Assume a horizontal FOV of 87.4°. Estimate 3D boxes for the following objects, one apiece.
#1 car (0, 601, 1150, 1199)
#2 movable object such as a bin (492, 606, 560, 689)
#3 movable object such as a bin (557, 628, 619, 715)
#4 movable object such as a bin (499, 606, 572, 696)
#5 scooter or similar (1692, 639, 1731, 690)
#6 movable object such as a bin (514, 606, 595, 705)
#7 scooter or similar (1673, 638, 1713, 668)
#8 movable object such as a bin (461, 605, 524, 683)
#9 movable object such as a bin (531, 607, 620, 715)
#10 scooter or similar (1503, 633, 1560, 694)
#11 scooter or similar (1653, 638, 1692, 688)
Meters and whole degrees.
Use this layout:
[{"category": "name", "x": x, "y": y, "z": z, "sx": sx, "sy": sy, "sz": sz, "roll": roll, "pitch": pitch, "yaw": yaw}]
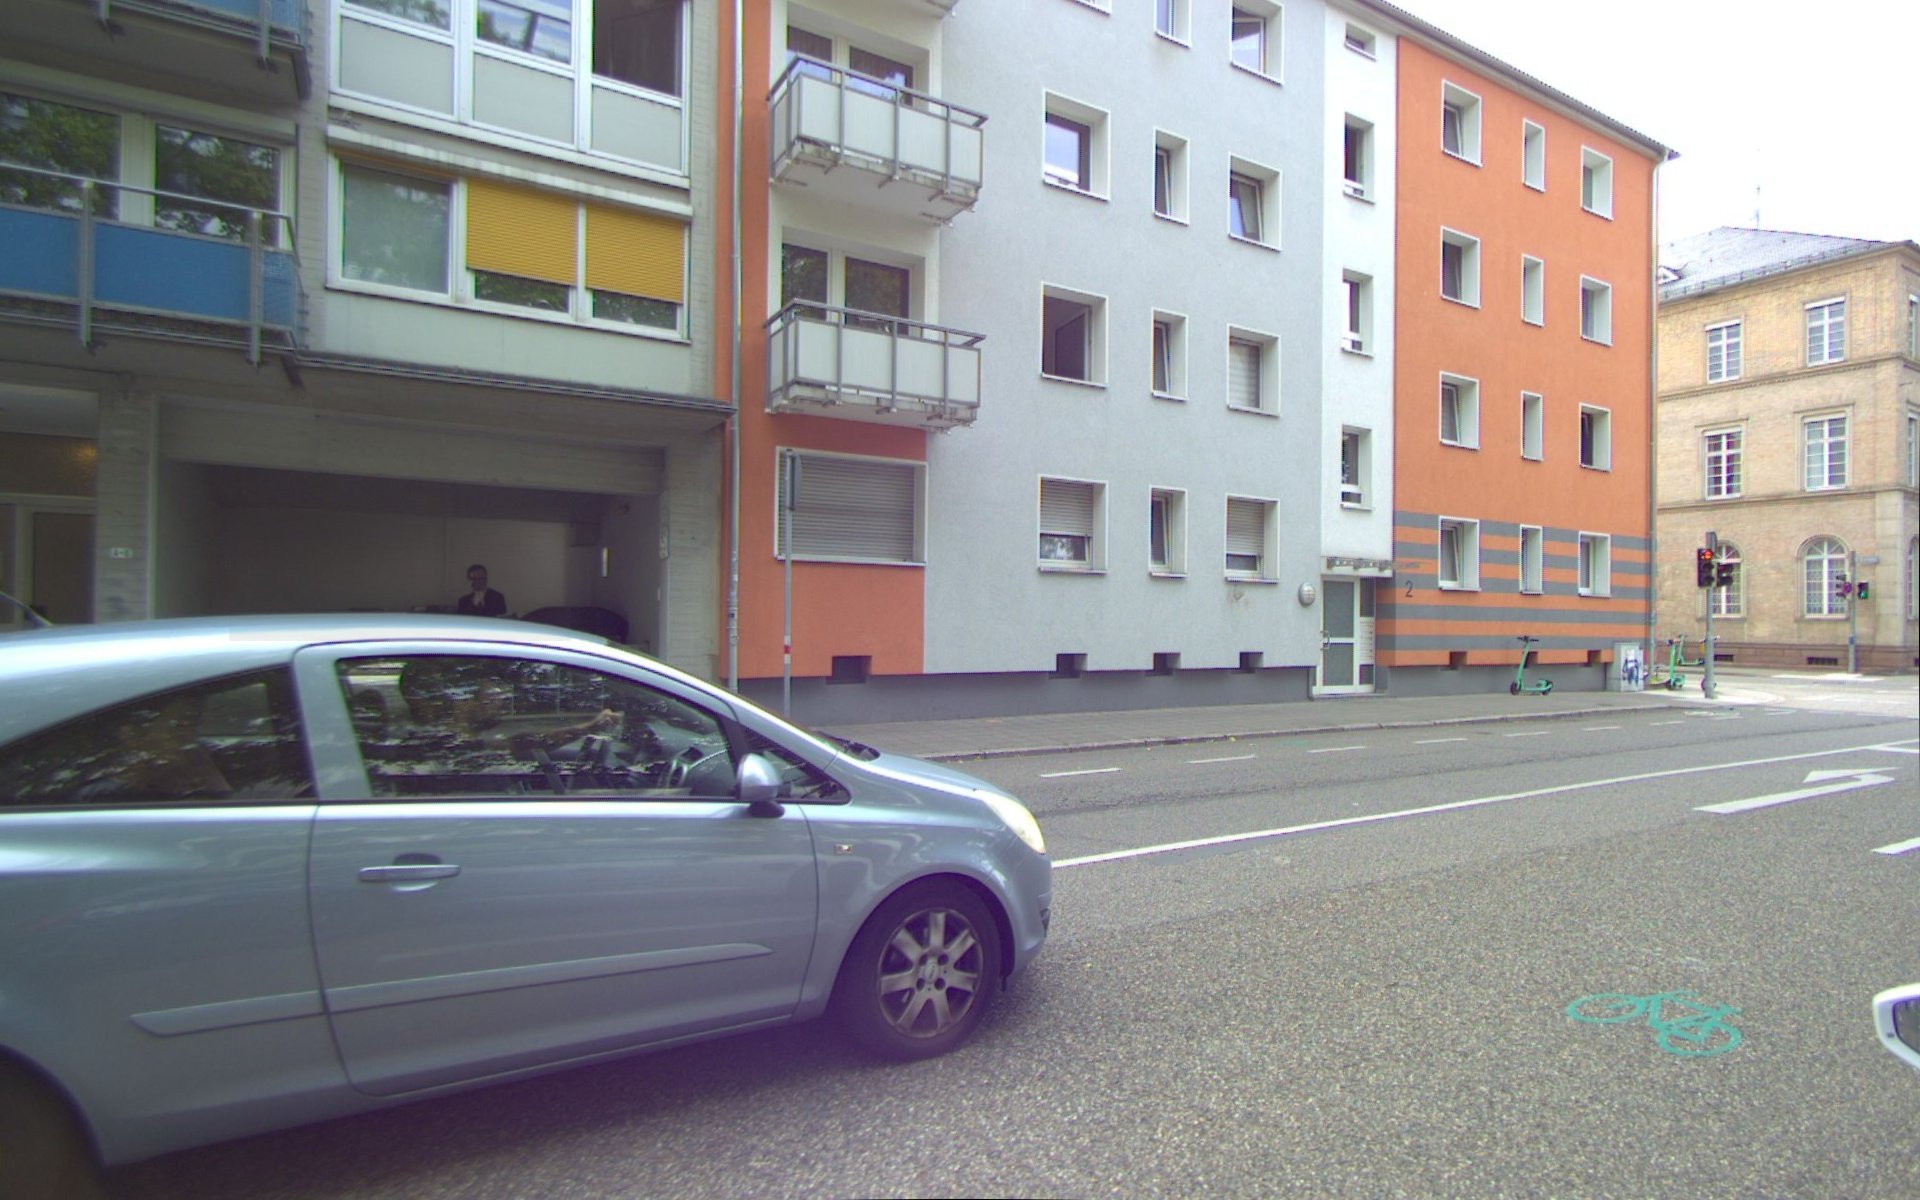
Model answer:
[{"category": "car", "x": -1.527, "y": 0.747, "z": 3.329, "sx": 4.205, "sy": 1.439, "sz": 1.703, "roll": 1, "pitch": -1, "yaw": -32}, {"category": "movable object such as a bin", "x": -8.066, "y": 0.858, "z": 18.633, "sx": 1.040, "sy": 1.483, "sz": 1.184, "roll": 1, "pitch": -1, "yaw": -29}, {"category": "movable object such as a bin", "x": -5.110, "y": 0.963, "z": 13.782, "sx": 0.701, "sy": 1.140, "sz": 0.639, "roll": 1, "pitch": -1, "yaw": -29}, {"category": "movable object such as a bin", "x": -7.329, "y": 0.856, "z": 17.317, "sx": 1.040, "sy": 1.483, "sz": 1.184, "roll": 1, "pitch": -1, "yaw": -29}, {"category": "scooter or similar", "x": 17.561, "y": 1.498, "z": 23.456, "sx": 1.130, "sy": 1.159, "sz": 0.375, "roll": 3, "pitch": -2, "yaw": -34}, {"category": "movable object such as a bin", "x": -6.421, "y": 0.857, "z": 15.889, "sx": 1.040, "sy": 1.483, "sz": 1.184, "roll": 1, "pitch": -1, "yaw": -29}, {"category": "scooter or similar", "x": 26.864, "y": 1.938, "z": 36.829, "sx": 0.375, "sy": 1.063, "sz": 1.133, "roll": 3, "pitch": -2, "yaw": -30}, {"category": "movable object such as a bin", "x": -9.252, "y": 0.848, "z": 19.871, "sx": 1.040, "sy": 1.483, "sz": 1.184, "roll": 1, "pitch": -1, "yaw": -29}, {"category": "movable object such as a bin", "x": -5.605, "y": 0.857, "z": 14.614, "sx": 1.040, "sy": 1.483, "sz": 1.184, "roll": 1, "pitch": -1, "yaw": -29}, {"category": "scooter or similar", "x": 11.614, "y": 1.290, "z": 20.411, "sx": 1.374, "sy": 1.199, "sz": 0.376, "roll": 3, "pitch": -2, "yaw": -31}, {"category": "scooter or similar", "x": 16.813, "y": 1.489, "z": 23.695, "sx": 1.130, "sy": 1.162, "sz": 0.375, "roll": 3, "pitch": -2, "yaw": -34}]
